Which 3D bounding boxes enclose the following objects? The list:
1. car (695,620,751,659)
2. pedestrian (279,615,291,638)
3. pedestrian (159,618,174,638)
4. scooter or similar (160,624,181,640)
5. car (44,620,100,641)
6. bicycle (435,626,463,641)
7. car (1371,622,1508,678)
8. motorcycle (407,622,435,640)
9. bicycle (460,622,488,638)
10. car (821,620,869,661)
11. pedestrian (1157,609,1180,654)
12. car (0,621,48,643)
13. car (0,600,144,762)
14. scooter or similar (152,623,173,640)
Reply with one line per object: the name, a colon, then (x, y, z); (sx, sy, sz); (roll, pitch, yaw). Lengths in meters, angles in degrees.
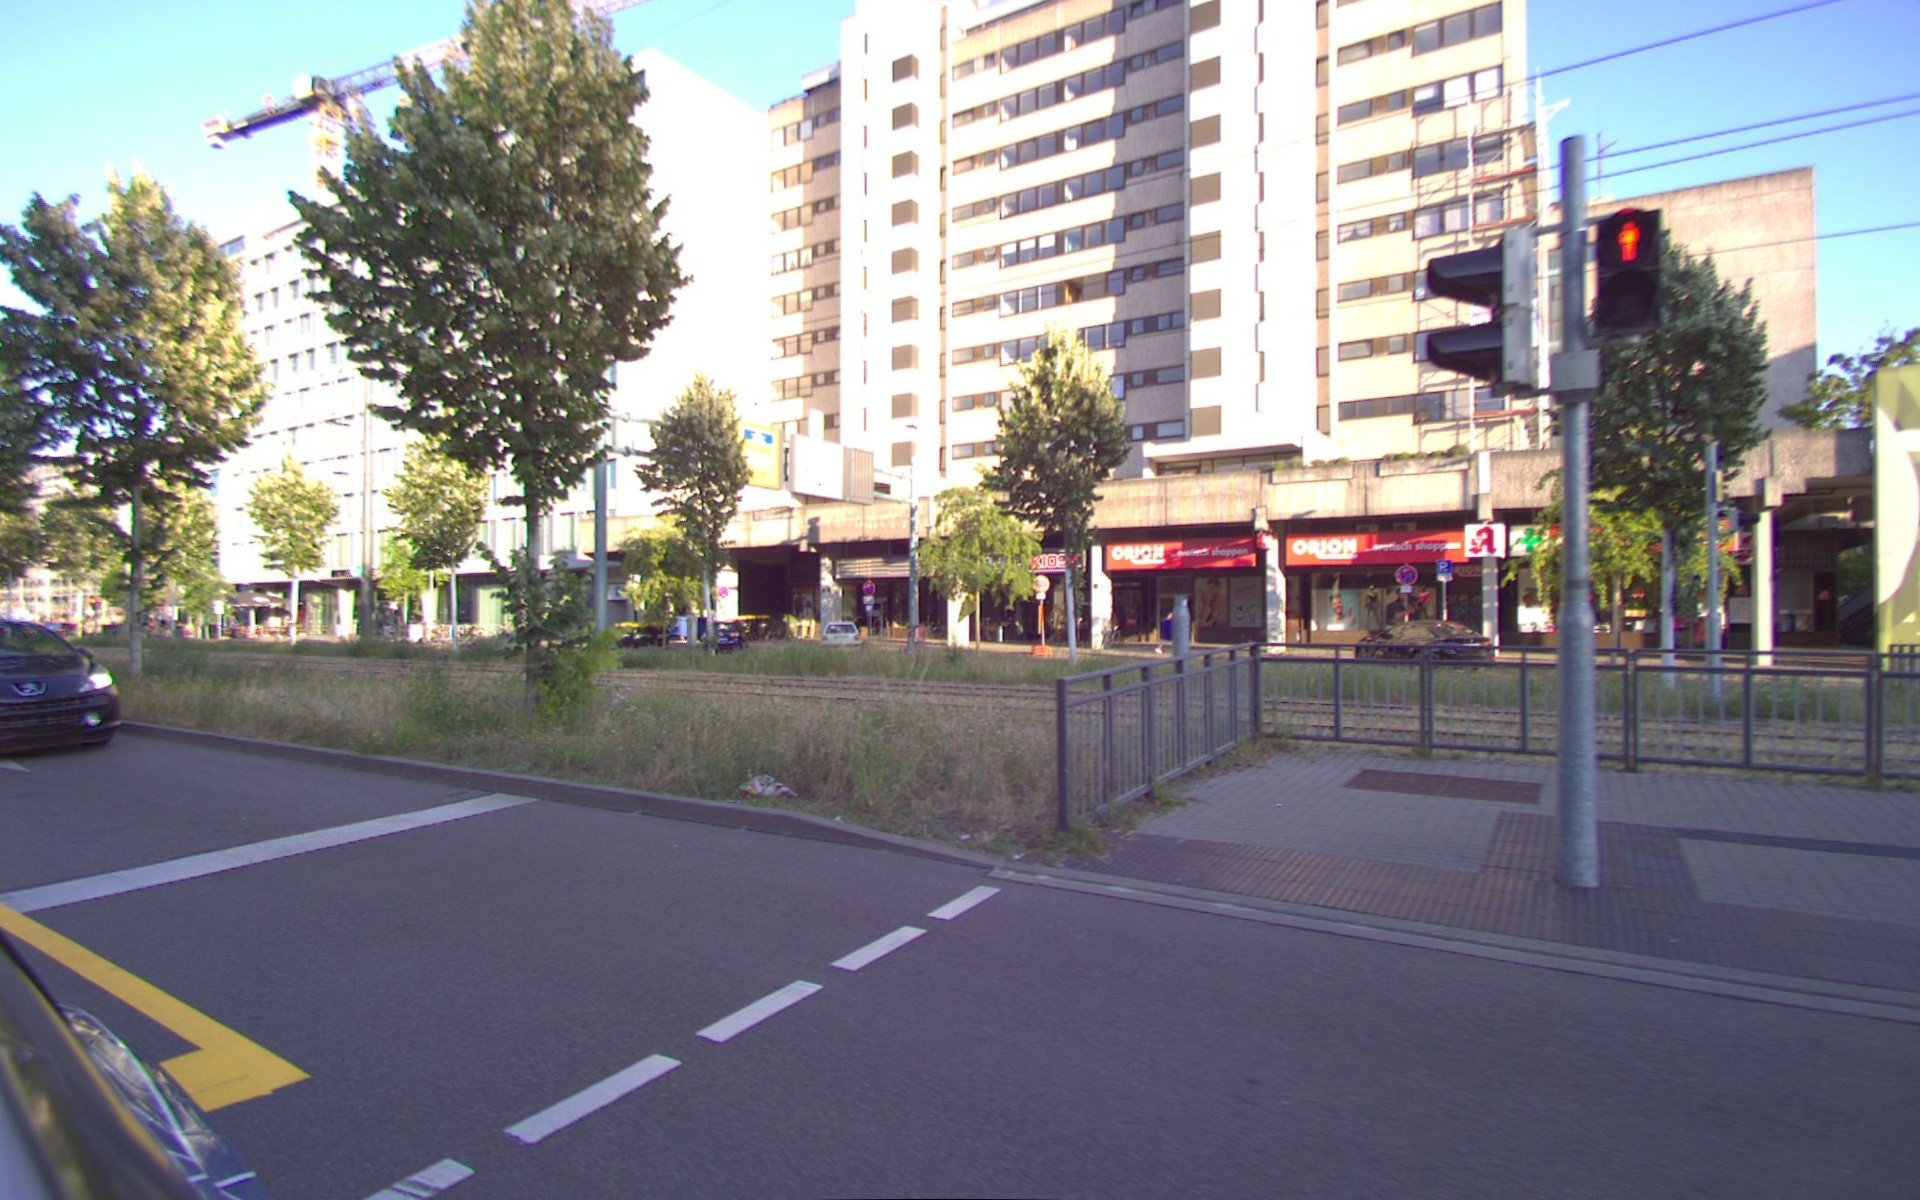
car: (-10.273, 1.665, 44.185); (1.978, 1.602, 4.292); (0, -1, -7)
pedestrian: (-48.616, 1.896, 72.905); (0.602, 1.612, 0.493); (-1, 1, 34)
pedestrian: (-64.284, 2.268, 81.983); (0.696, 1.615, 0.683); (-2, 1, -15)
scooter or similar: (-57.655, 2.352, 73.903); (0.337, 1.172, 1.172); (-1, -1, 33)
car: (-63.272, 2.167, 72.112); (4.209, 1.451, 1.871); (-1, -2, 32)
bicycle: (-33.857, 2.212, 67.044); (0.419, 1.027, 1.731); (-1, -1, 29)
car: (13.420, 1.358, 28.582); (1.717, 1.461, 3.736); (0, -1, -7)
motorcycle: (-36.884, 2.130, 69.309); (0.511, 1.180, 1.887); (-1, -1, 17)
bicycle: (-31.524, 1.937, 65.673); (0.419, 1.027, 1.776); (-1, -1, 28)
car: (-4.661, 1.590, 41.018); (1.797, 1.446, 4.137); (-1, 0, -6)
pedestrian: (7.956, 1.203, 38.539); (0.659, 1.674, 0.658); (-1, -2, 34)
car: (-64.986, 2.202, 69.719); (4.786, 1.452, 1.999); (-1, -3, 33)
car: (-10.393, 0.786, 10.585); (3.889, 1.460, 1.706); (-1, 1, 32)
scooter or similar: (-59.084, 2.335, 74.978); (0.337, 1.227, 1.172); (-1, -1, 33)
